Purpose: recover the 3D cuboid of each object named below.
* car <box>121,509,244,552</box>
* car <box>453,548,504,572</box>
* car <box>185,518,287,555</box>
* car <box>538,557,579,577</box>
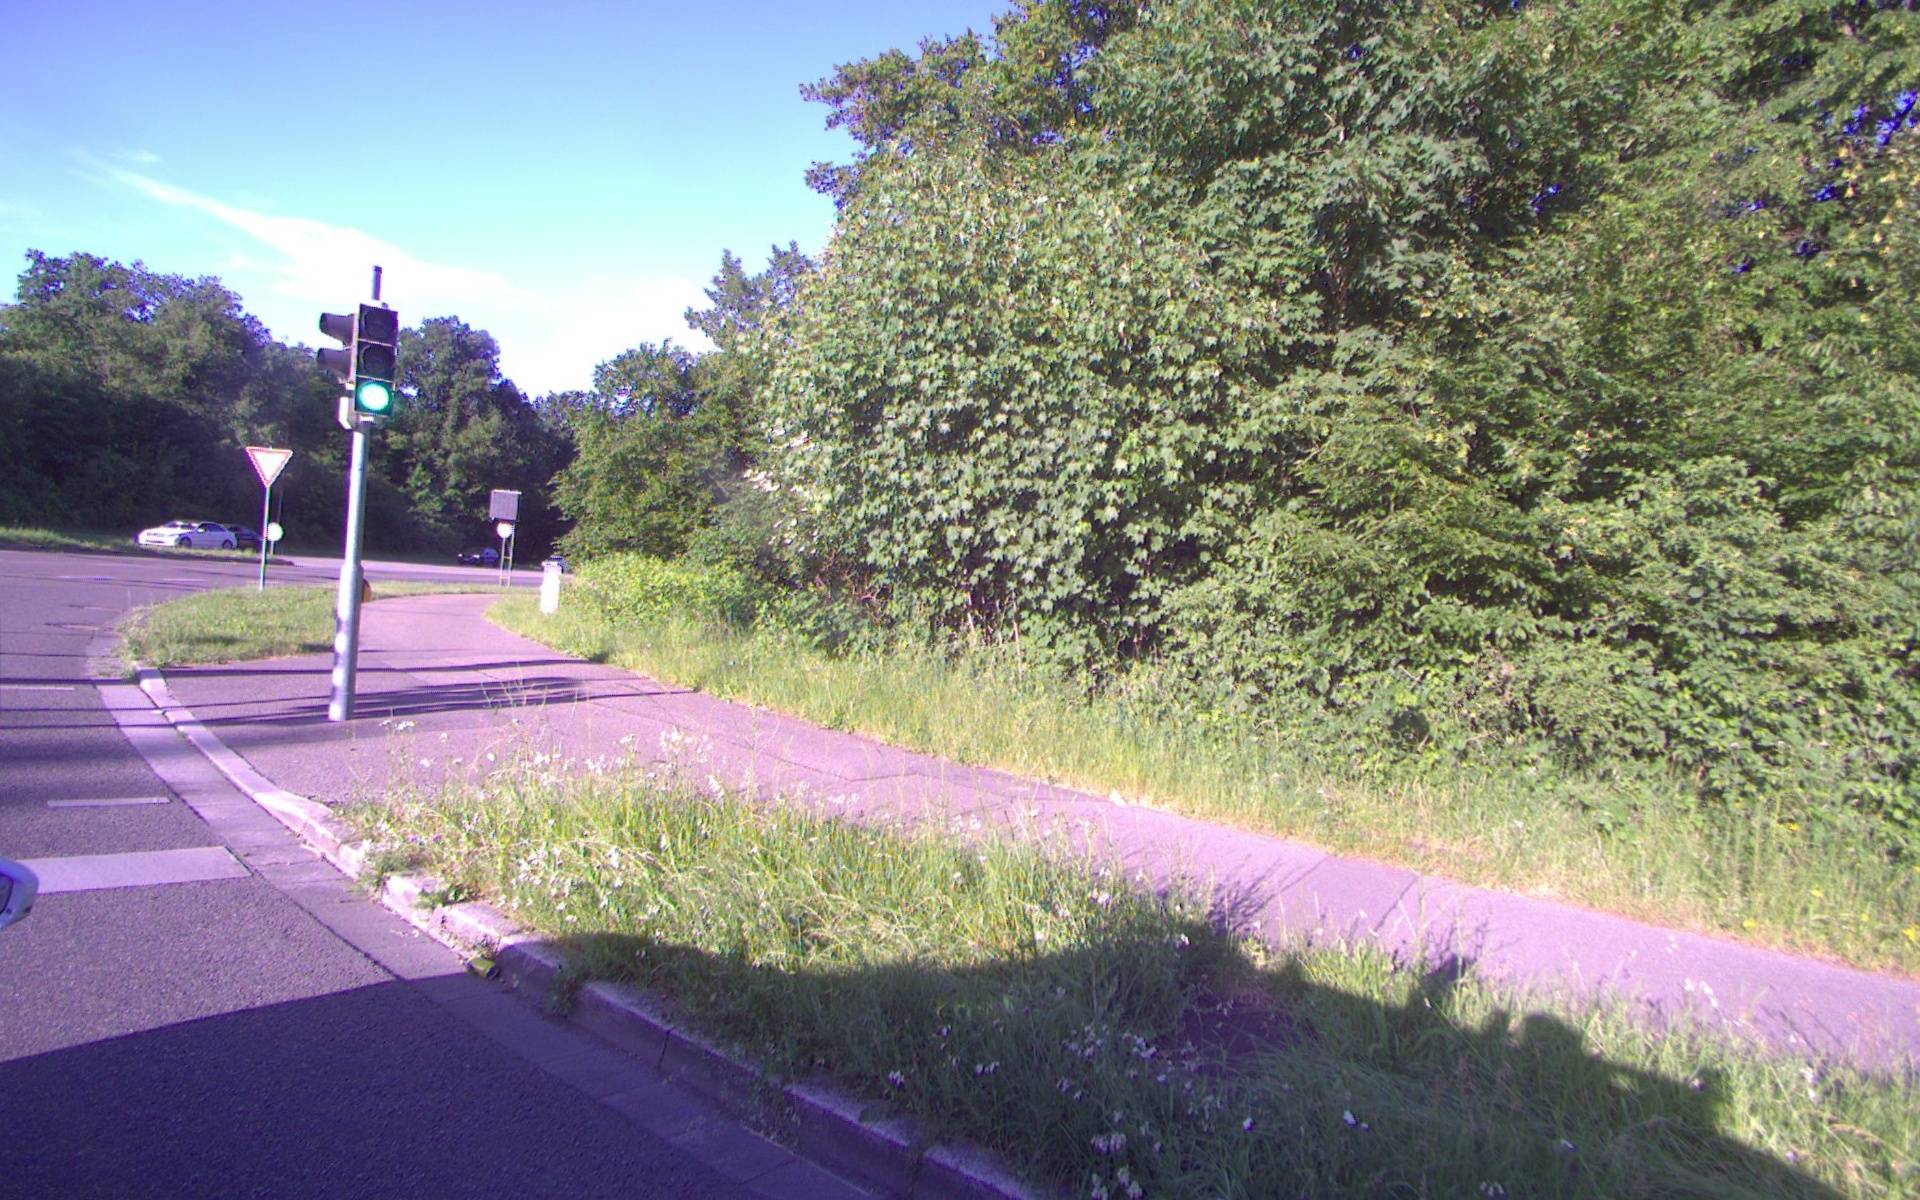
[{"bbox_3d":[-35.943,-3.187,46.700,1.963,1.454,4.805,6,0,-1],"label":"car"},{"bbox_3d":[-39.927,-3.304,83.526,1.963,1.548,4.649,6,0,-2],"label":"car"},{"bbox_3d":[-38.612,-3.341,53.823,1.963,1.454,4.805,6,0,-1],"label":"car"},{"bbox_3d":[-39.556,-3.236,99.223,1.963,1.548,4.650,6,0,0],"label":"car"}]
